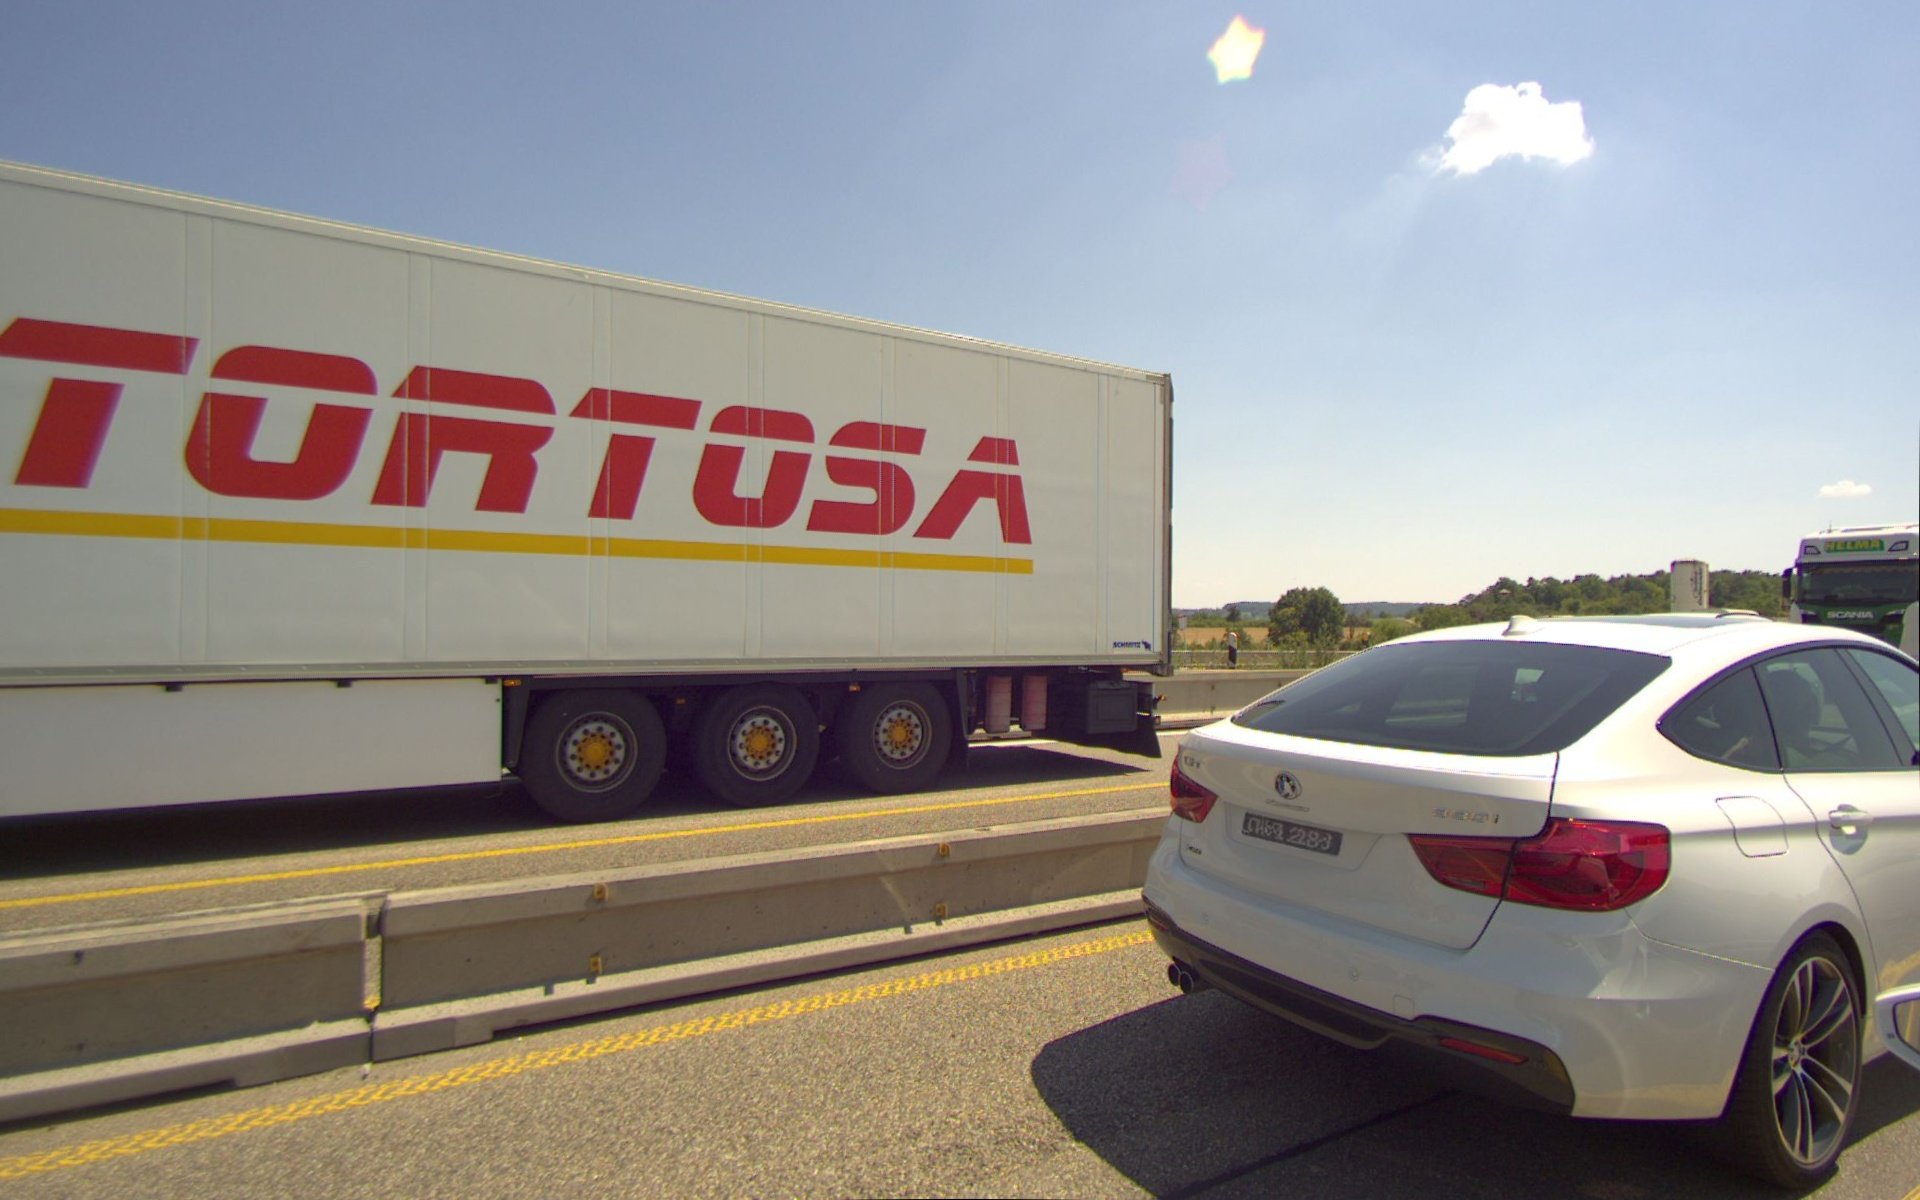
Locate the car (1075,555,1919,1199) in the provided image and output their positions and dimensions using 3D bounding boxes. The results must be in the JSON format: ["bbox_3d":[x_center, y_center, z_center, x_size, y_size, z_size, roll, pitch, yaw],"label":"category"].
[{"bbox_3d":[3.014,0.768,4.038,5.013,1.555,1.787,2,-2,-30],"label":"car"}]

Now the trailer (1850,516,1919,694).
[{"bbox_3d":[28.174,0.257,26.640,12.335,4.207,2.345,2,0,-27],"label":"trailer"}]

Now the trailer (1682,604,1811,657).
[{"bbox_3d":[48.086,1.811,61.528,2.850,3.037,5.537,1,0,-30],"label":"trailer"}]

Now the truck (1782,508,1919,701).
[{"bbox_3d":[21.819,0.144,23.428,5.017,4.061,2.436,1,0,-30],"label":"truck"}]

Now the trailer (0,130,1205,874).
[{"bbox_3d":[-3.759,-0.521,8.215,12.972,4.149,2.801,1,0,-31],"label":"trailer"}]

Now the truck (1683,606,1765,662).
[{"bbox_3d":[44.482,1.965,58.477,4.215,3.084,2.329,1,0,-30],"label":"truck"}]

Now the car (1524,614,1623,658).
[{"bbox_3d":[30.567,1.757,50.000,5.055,2.043,2.192,2,0,-33],"label":"car"}]

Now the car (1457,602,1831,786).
[{"bbox_3d":[8.090,0.971,11.792,4.442,1.762,1.983,2,0,-32],"label":"car"}]
